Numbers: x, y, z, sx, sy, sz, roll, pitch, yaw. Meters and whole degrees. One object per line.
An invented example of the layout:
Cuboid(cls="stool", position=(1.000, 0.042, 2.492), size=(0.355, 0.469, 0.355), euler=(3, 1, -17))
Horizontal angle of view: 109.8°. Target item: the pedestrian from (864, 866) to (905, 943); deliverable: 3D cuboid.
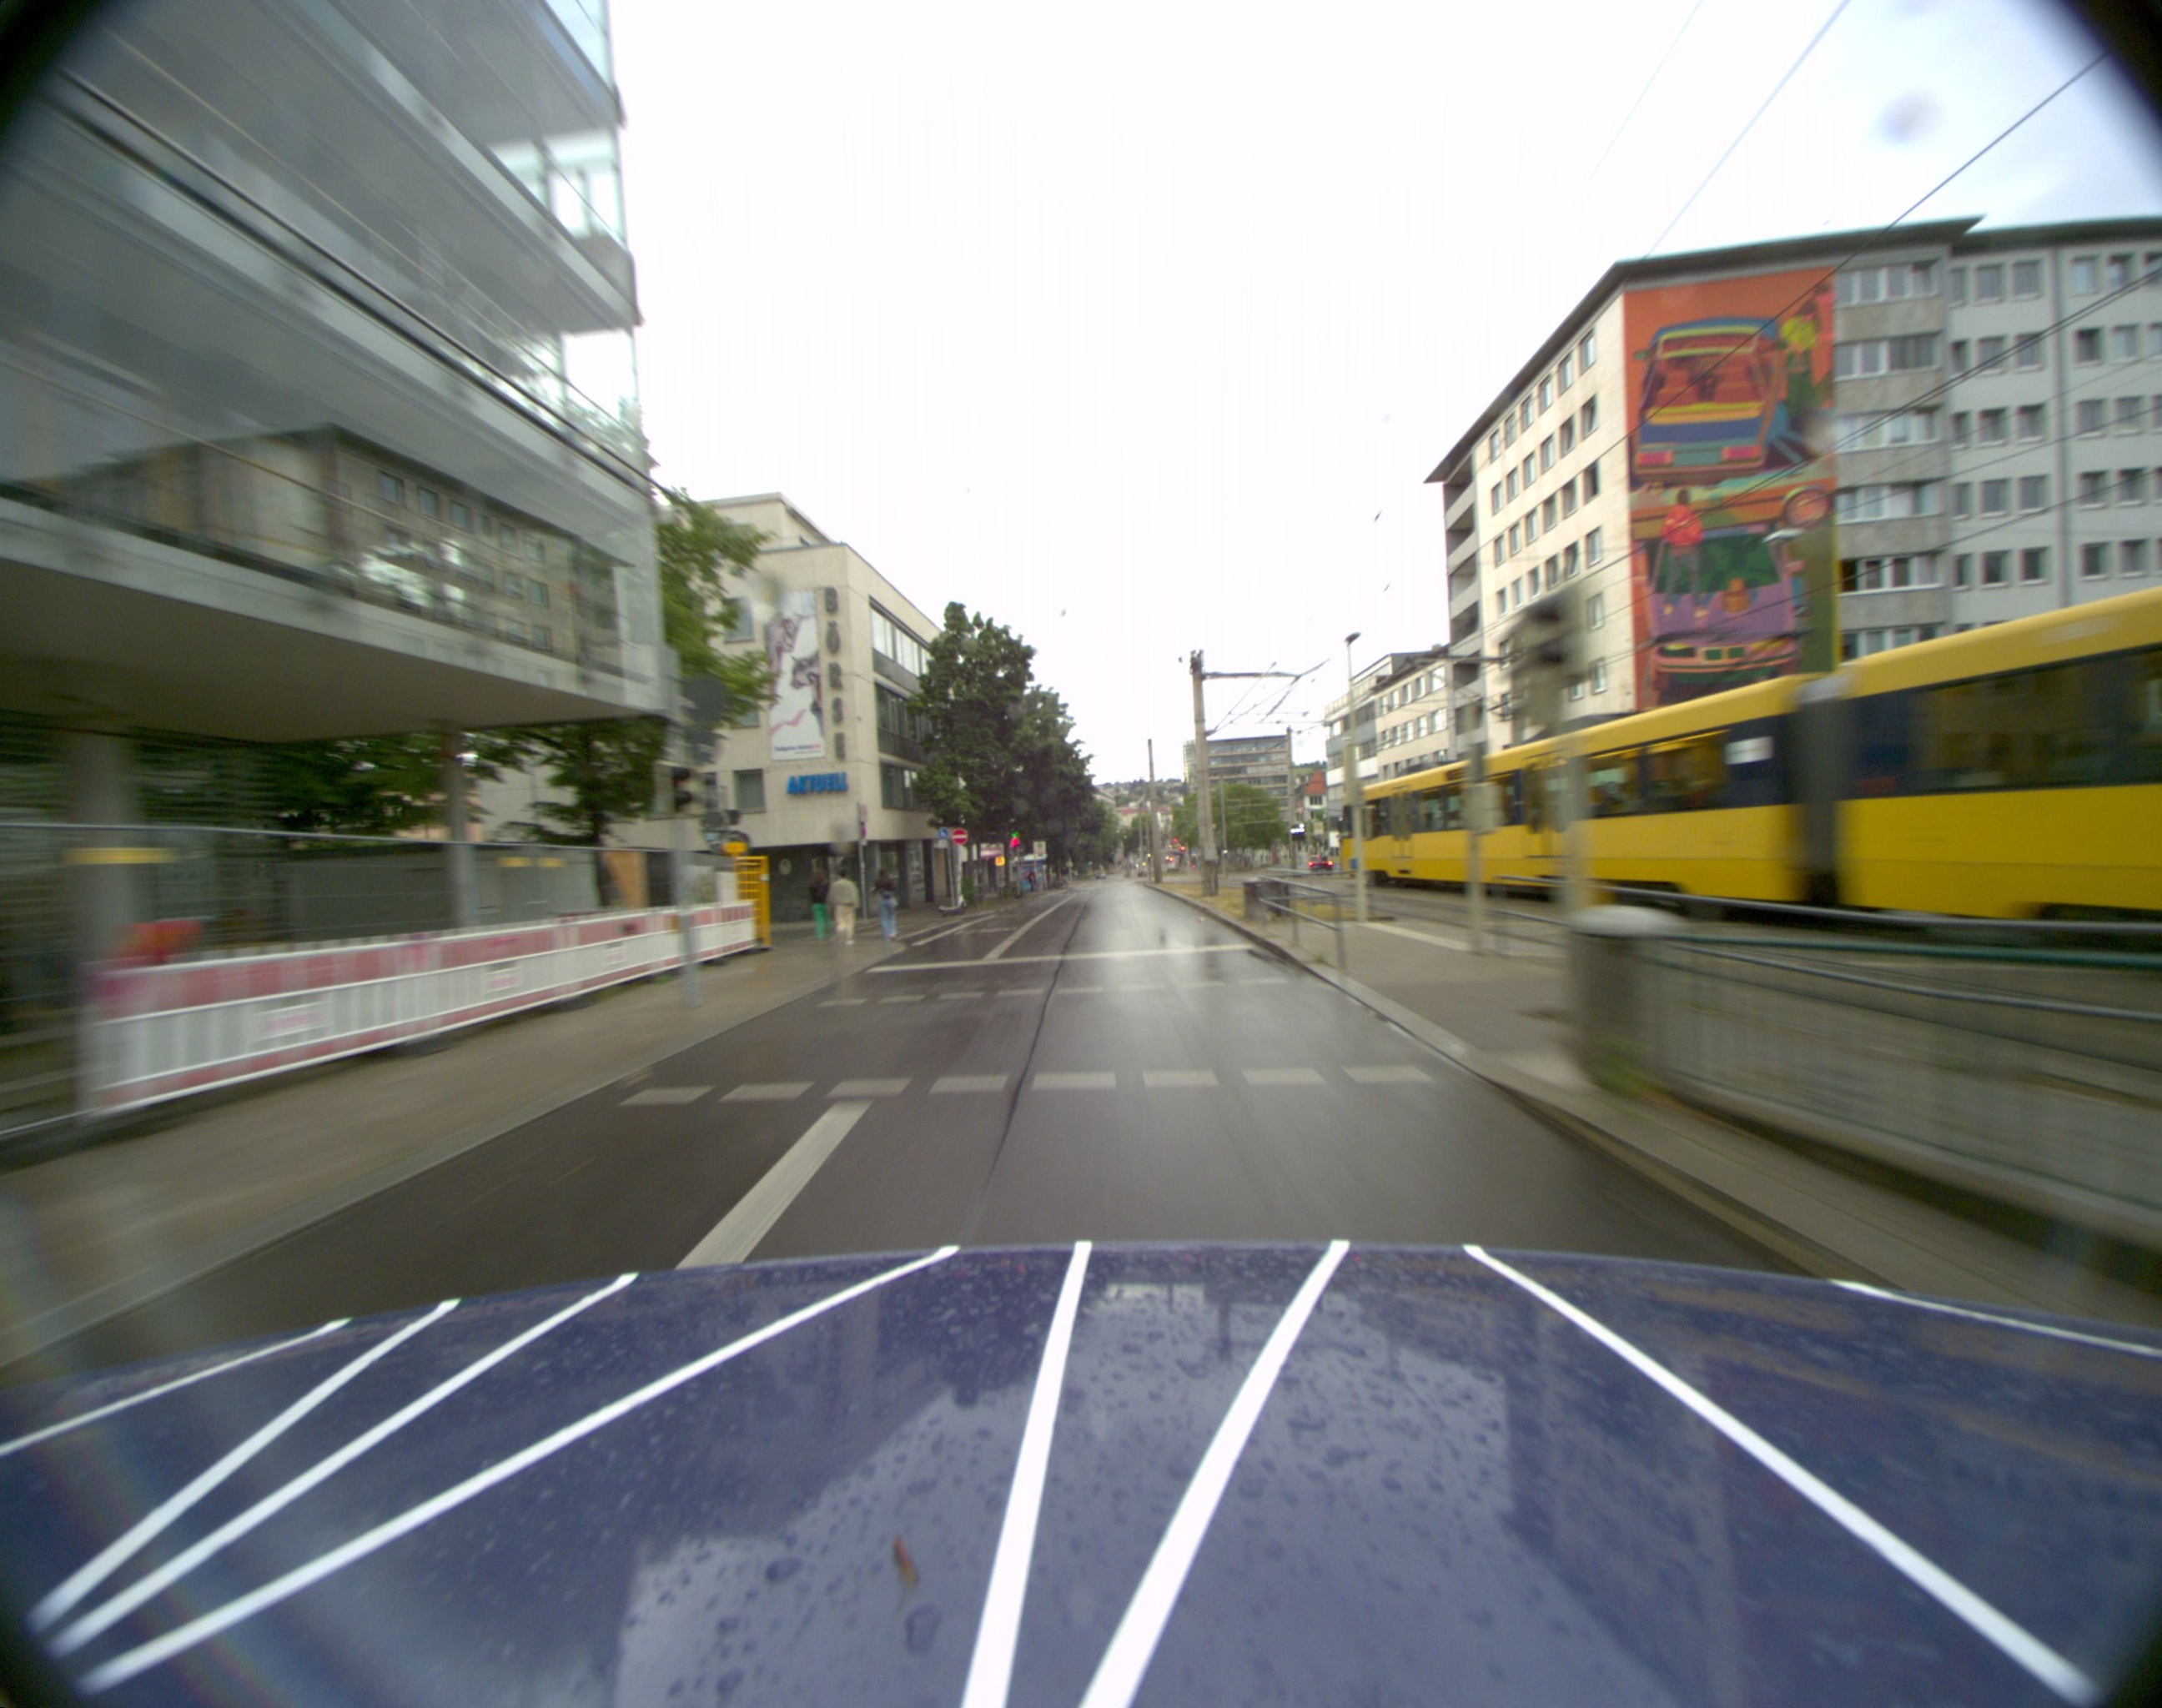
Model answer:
Cuboid(cls="pedestrian", position=(-4.685, 1.175, 18.169), size=(0.720, 1.751, 0.958), euler=(-3, 0, -6))

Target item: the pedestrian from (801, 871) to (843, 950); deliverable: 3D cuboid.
Cuboid(cls="pedestrian", position=(-5.983, 1.293, 17.591), size=(0.599, 1.751, 0.845), euler=(-3, 0, 0))

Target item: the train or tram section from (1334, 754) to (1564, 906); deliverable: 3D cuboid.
Cuboid(cls="train or tram section", position=(10.809, -0.570, 23.724), size=(2.785, 3.670, 8.976), euler=(-4, 0, 1))

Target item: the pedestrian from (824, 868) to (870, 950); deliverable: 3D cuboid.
Cuboid(cls="pedestrian", position=(-5.247, 1.215, 17.075), size=(0.720, 1.751, 0.958), euler=(-3, 0, -6))

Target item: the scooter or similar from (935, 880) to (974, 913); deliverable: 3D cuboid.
Cuboid(cls="scooter or similar", position=(-4.963, 1.642, 29.805), size=(1.385, 1.172, 0.511), euler=(-3, 0, -28))

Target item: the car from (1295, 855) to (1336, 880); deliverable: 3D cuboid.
Cuboid(cls="car", position=(17.114, 1.008, 55.567), size=(1.824, 1.623, 3.869), euler=(-4, -2, 1))

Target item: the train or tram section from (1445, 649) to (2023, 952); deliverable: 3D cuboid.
Cuboid(cls="train or tram section", position=(10.608, -0.646, 14.459), size=(2.785, 3.670, 9.511), euler=(-4, 0, 1))

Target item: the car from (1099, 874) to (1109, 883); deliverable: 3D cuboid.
Cuboid(cls="car", position=(4.003, 4.202, 132.188), size=(1.620, 1.455, 3.590), euler=(-4, -2, 3))

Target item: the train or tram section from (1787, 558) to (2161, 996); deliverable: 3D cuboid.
Cuboid(cls="train or tram section", position=(10.429, -0.726, 4.935), size=(2.785, 3.670, 9.511), euler=(-4, 0, 1))

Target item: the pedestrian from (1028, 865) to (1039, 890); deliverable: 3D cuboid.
Cuboid(cls="pedestrian", position=(-3.208, 1.599, 51.699), size=(0.560, 1.614, 0.485), euler=(-4, -1, 4))
